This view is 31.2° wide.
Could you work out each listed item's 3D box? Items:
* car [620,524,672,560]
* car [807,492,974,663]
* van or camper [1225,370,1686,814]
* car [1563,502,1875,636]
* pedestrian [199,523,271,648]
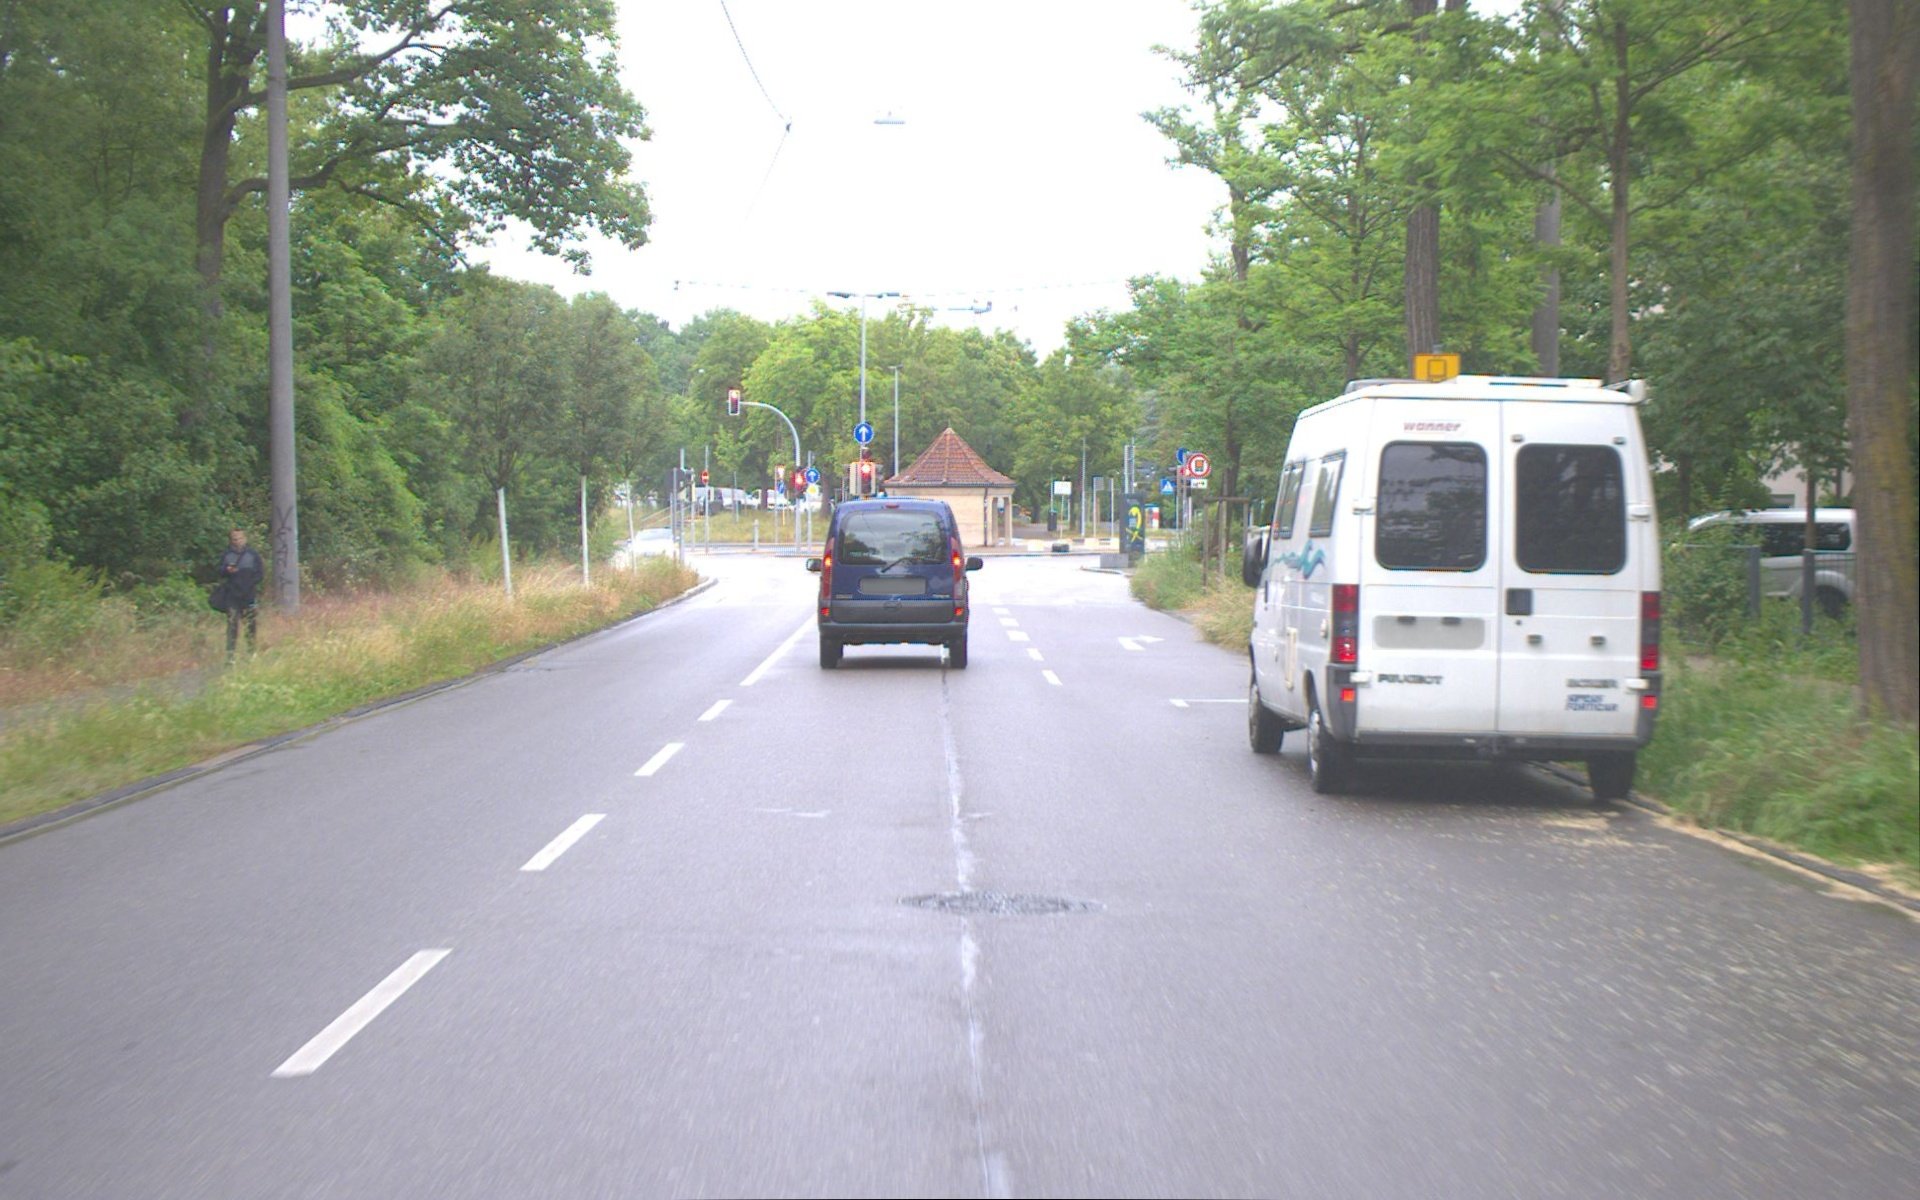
[{"bbox_3d":[-12.450,-2.314,136.418,1.993,1.307,4.360,-2,2,-5],"label":"car"},{"bbox_3d":[-0.760,-0.286,38.489,1.731,1.780,4.000,1,1,-1],"label":"car"},{"bbox_3d":[3.068,-0.104,22.600,2.037,2.471,5.639,3,1,-1],"label":"van or camper"},{"bbox_3d":[10.995,-0.469,50.041,4.306,1.811,1.873,1,1,10],"label":"car"},{"bbox_3d":[-9.383,-0.195,44.543,0.781,1.602,0.732,0,1,-1],"label":"pedestrian"}]
